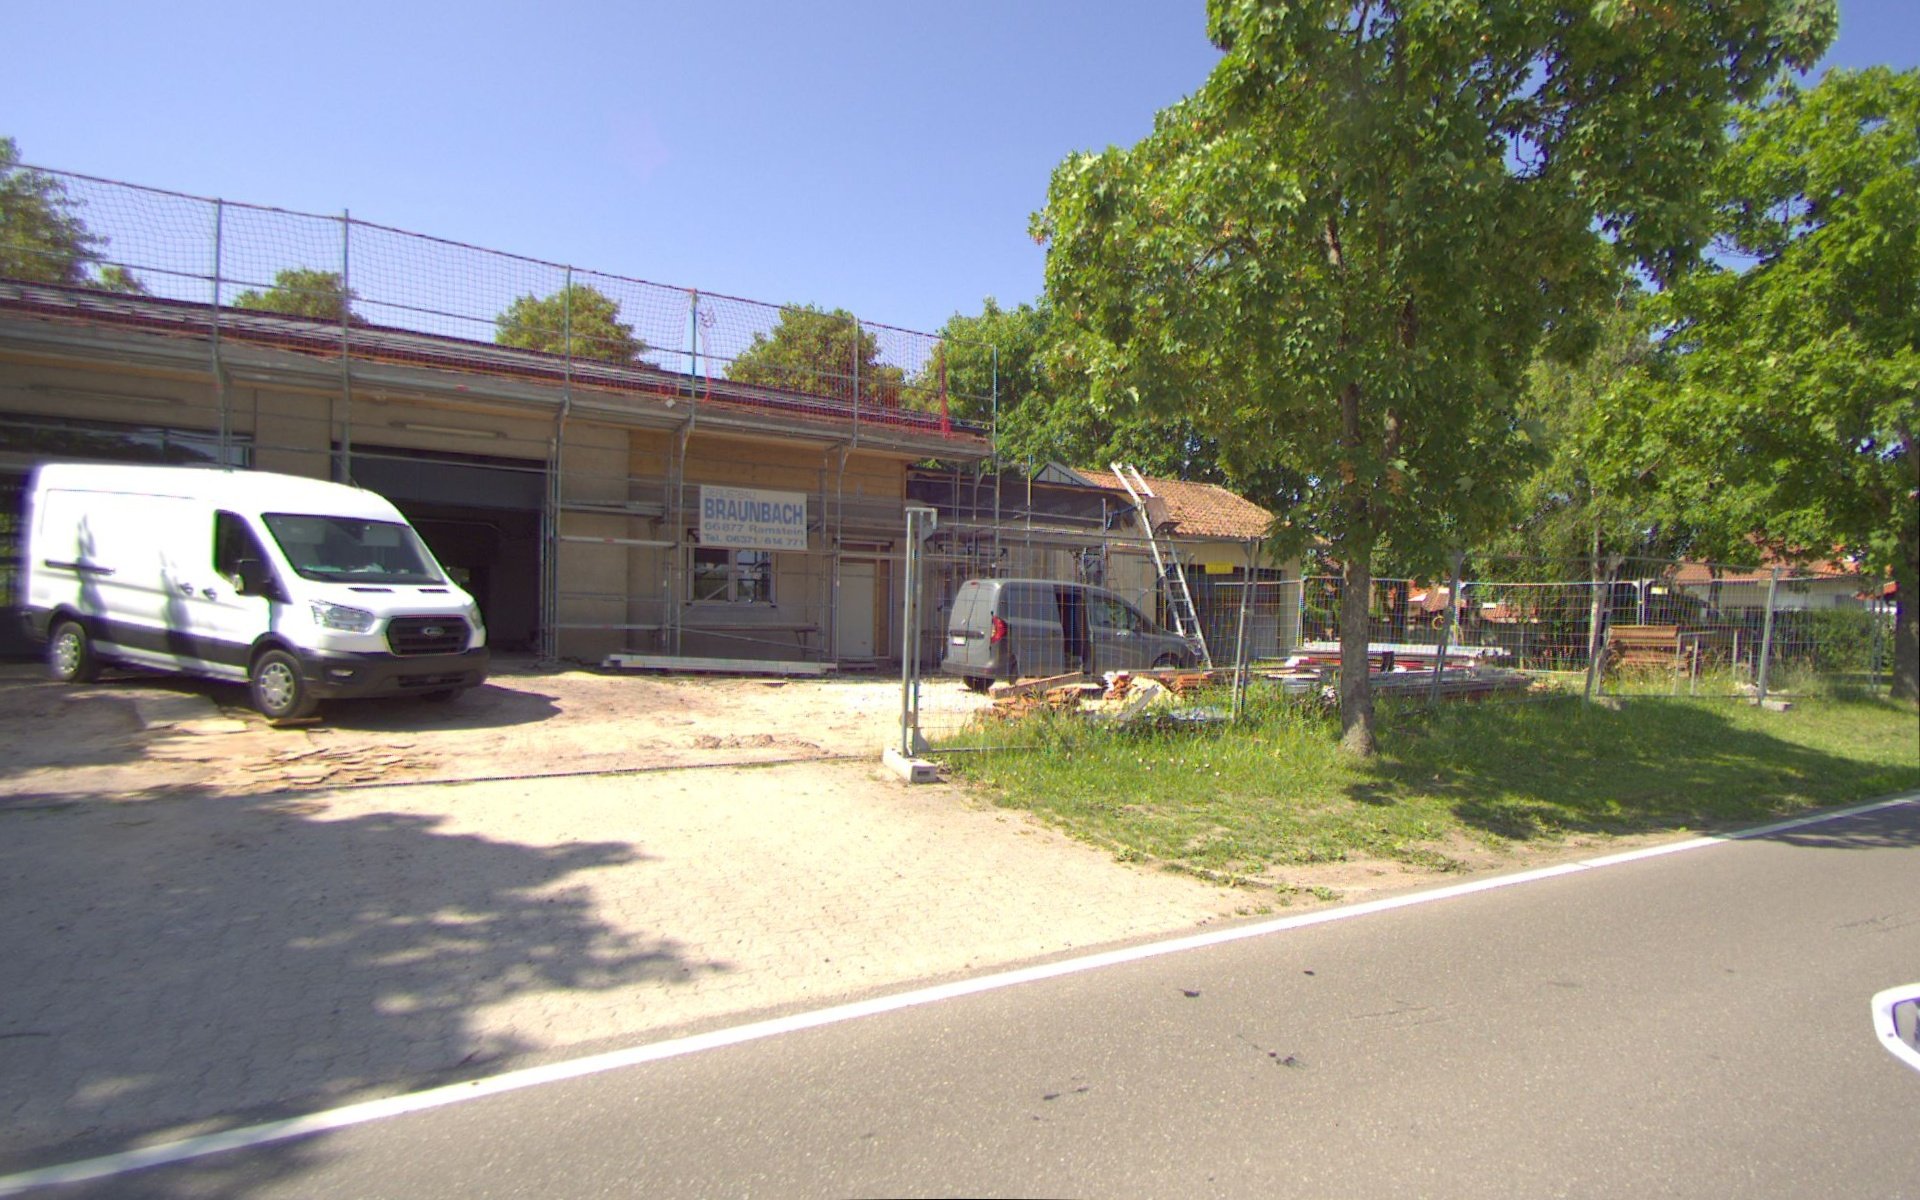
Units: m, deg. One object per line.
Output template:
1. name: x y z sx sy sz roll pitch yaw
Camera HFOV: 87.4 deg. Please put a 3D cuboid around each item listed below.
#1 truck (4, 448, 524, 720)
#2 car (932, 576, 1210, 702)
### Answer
1. truck: -7.920 -0.159 11.349 5.818 2.516 1.999 1 -1 23
2. car: 1.875 0.629 16.728 4.277 1.862 1.961 2 -1 -30
